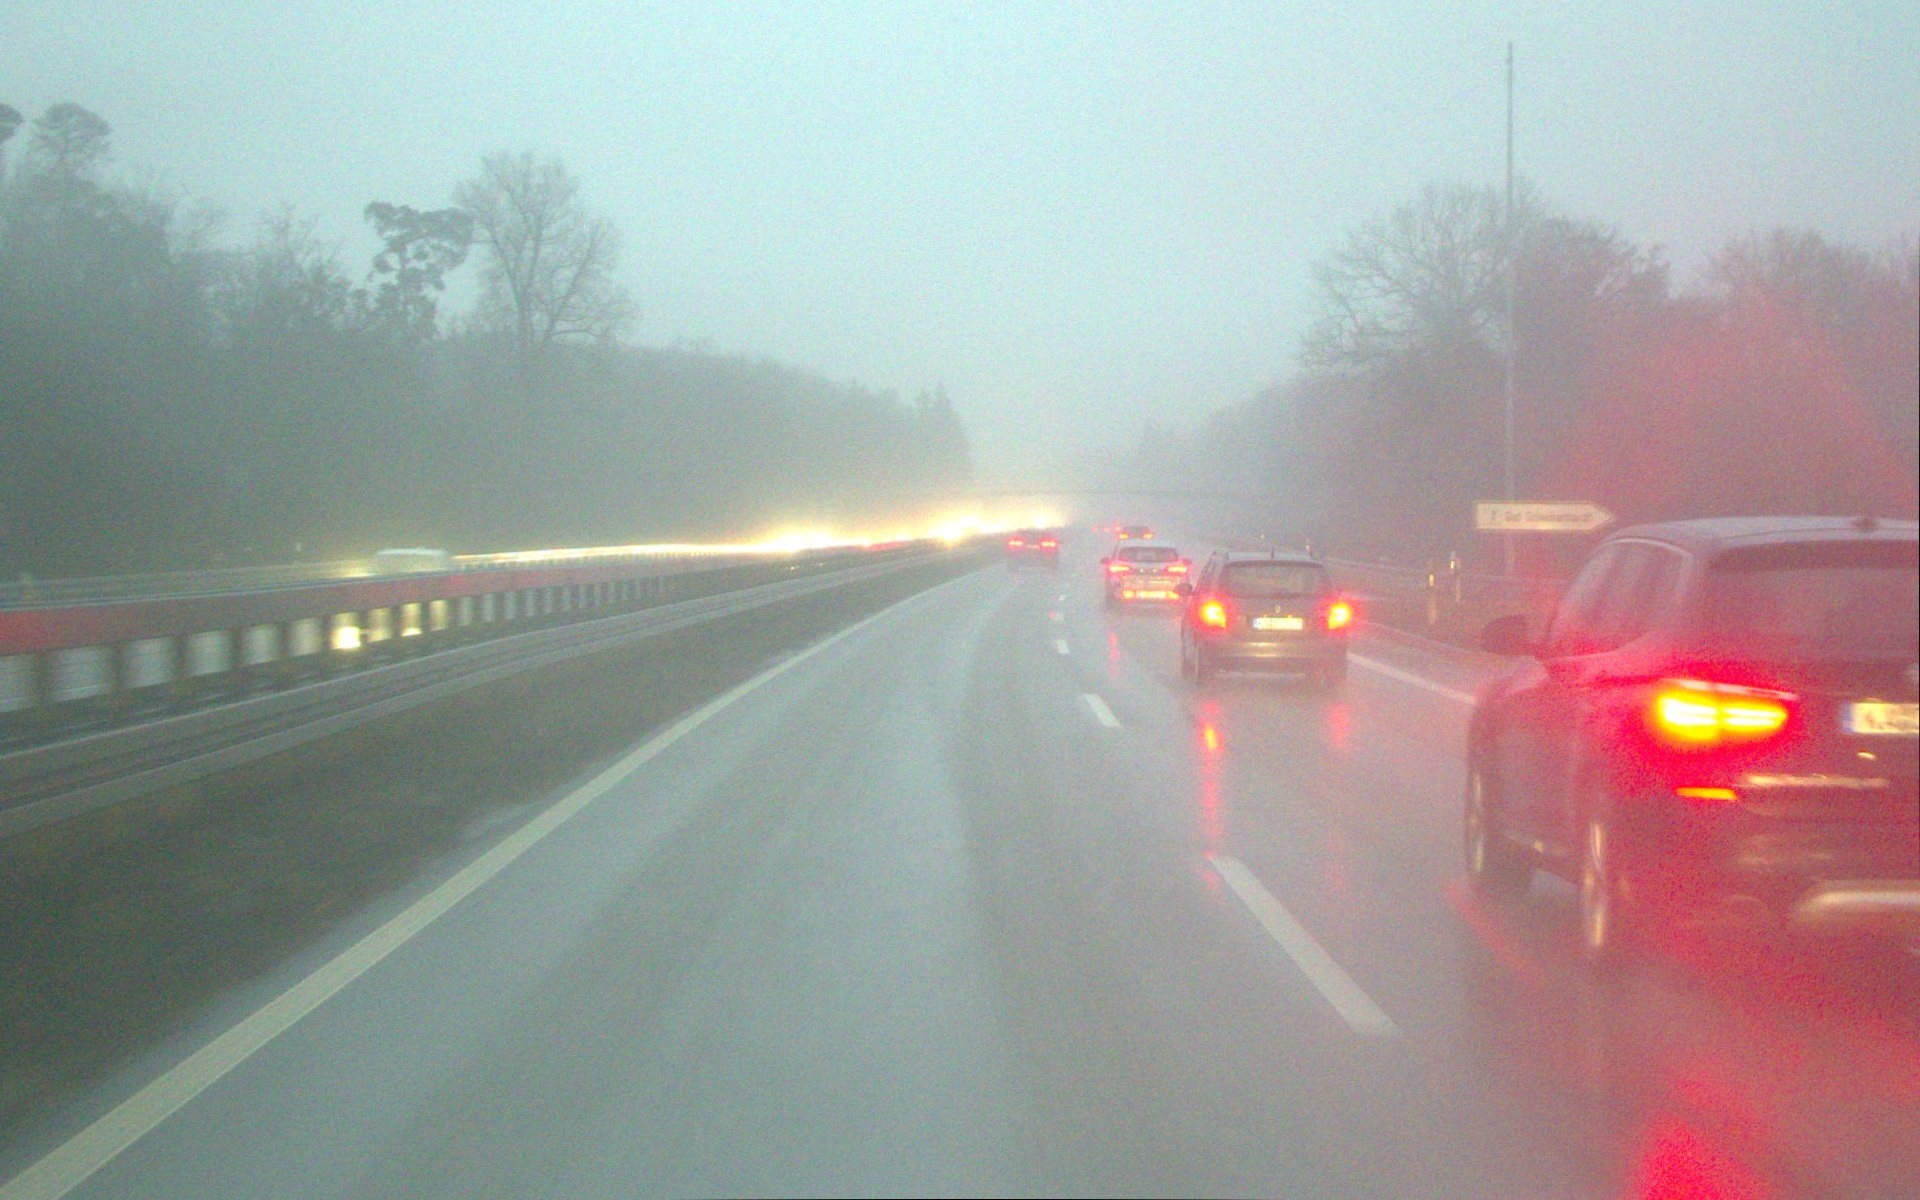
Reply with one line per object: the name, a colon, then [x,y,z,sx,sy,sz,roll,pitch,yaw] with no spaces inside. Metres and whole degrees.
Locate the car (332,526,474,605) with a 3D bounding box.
car: [-10.737,-0.701,66.561,1.926,1.434,4.550,0,2,1]

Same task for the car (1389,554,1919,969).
car: [2.963,0.581,14.737,1.678,1.503,3.809,0,1,-1]

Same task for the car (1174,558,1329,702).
car: [3.234,0.298,38.637,1.595,1.485,3.594,0,1,3]
